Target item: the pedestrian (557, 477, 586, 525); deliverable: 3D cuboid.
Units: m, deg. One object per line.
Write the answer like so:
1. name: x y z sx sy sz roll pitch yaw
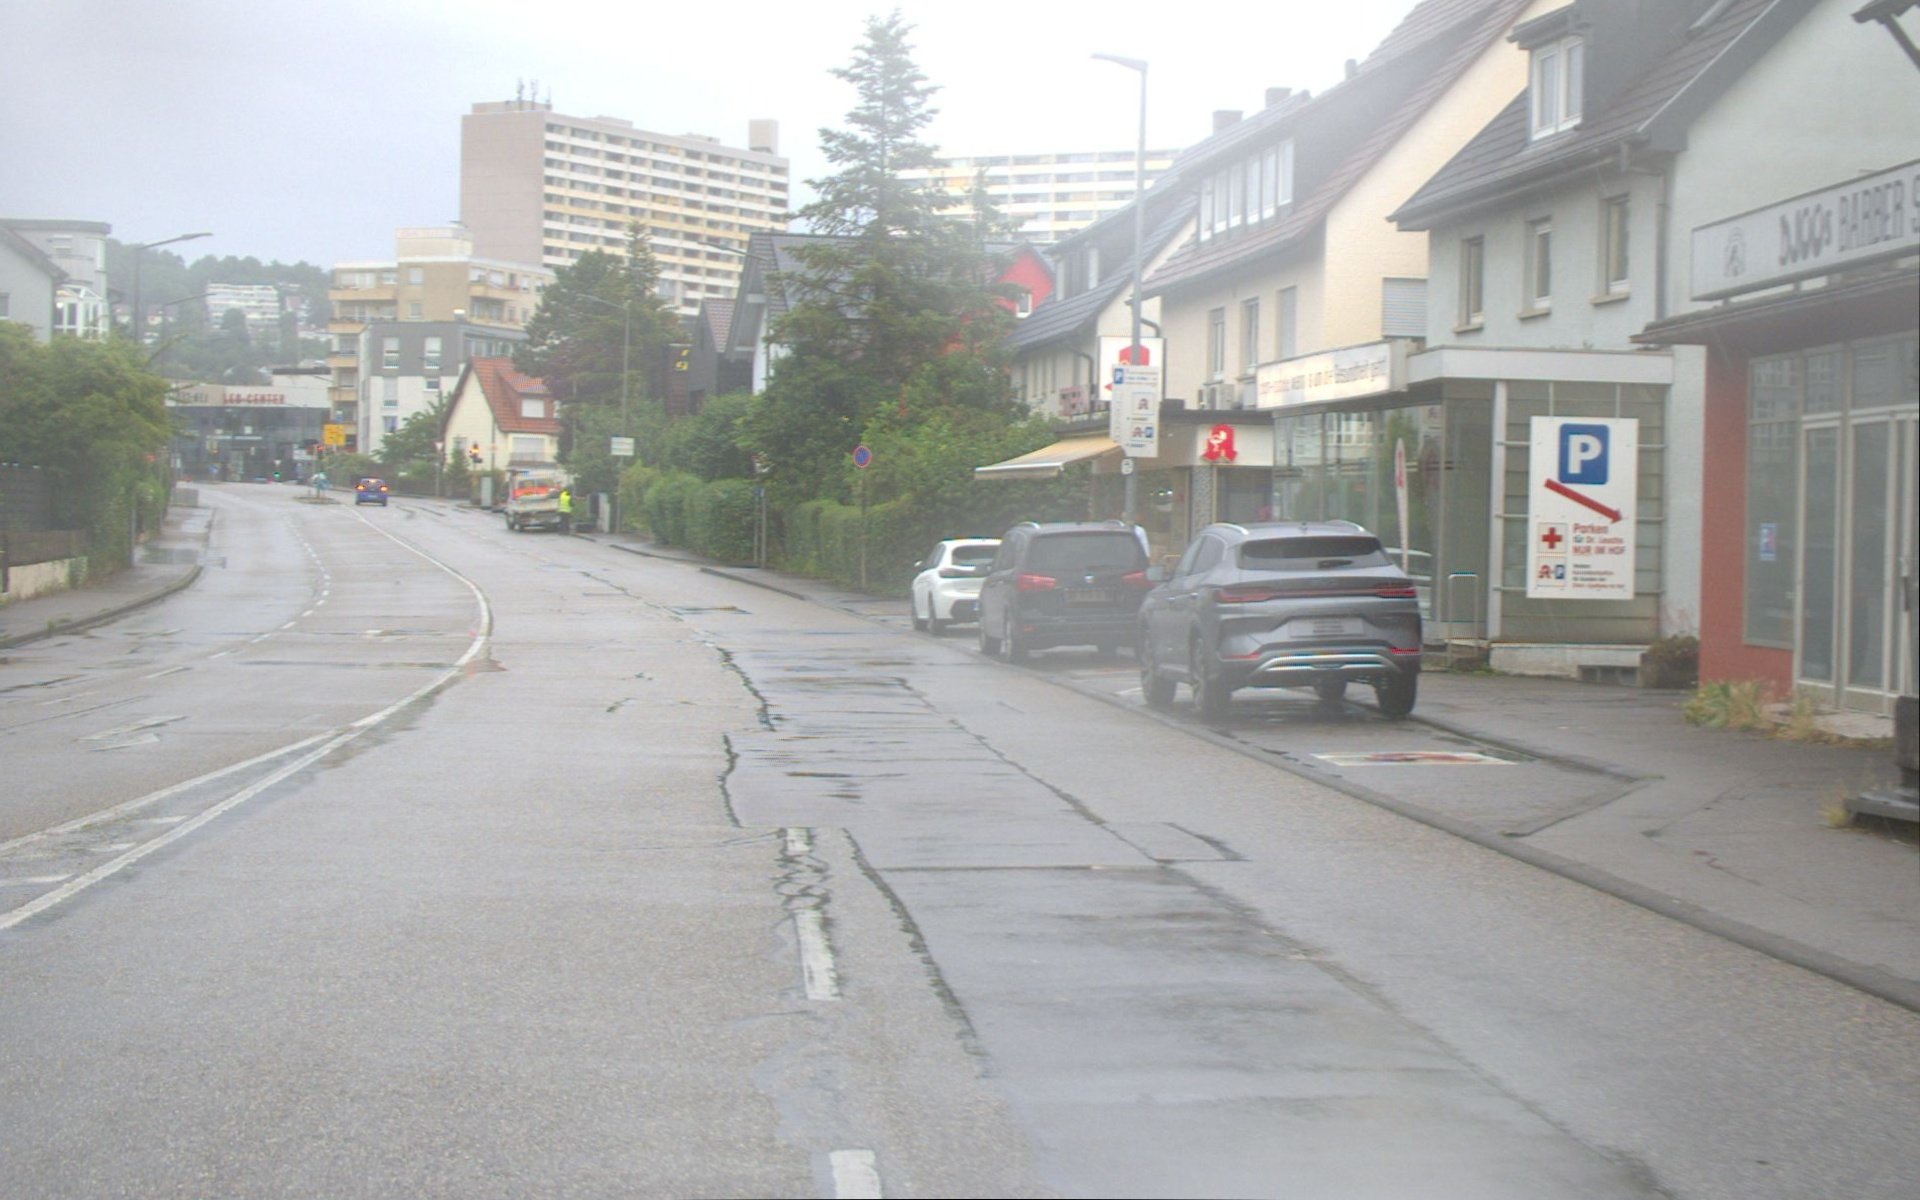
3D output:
1. pedestrian: -14.539 -3.702 128.718 0.823 1.791 0.800 0 2 -29

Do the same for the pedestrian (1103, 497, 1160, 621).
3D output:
1. pedestrian: 2.663 -0.638 53.237 0.623 1.885 0.646 2 1 29

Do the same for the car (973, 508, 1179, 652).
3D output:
1. car: 1.404 -0.268 43.746 2.035 1.689 4.964 -1 1 -4

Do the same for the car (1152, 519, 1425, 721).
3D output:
1. car: 2.860 0.134 30.939 1.875 1.637 4.793 -1 1 -1

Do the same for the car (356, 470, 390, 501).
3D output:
1. car: -31.840 -6.197 186.638 1.794 1.664 4.001 0 1 -10

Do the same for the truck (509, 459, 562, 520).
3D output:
1. truck: -16.455 -4.303 133.091 1.993 2.295 4.001 1 2 -8

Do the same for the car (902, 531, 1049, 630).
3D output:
1. car: 0.194 -0.336 53.600 1.815 1.443 4.204 -1 2 -6

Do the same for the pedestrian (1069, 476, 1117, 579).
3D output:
1. pedestrian: 2.186 -1.194 56.376 0.550 1.672 0.516 0 2 -43
